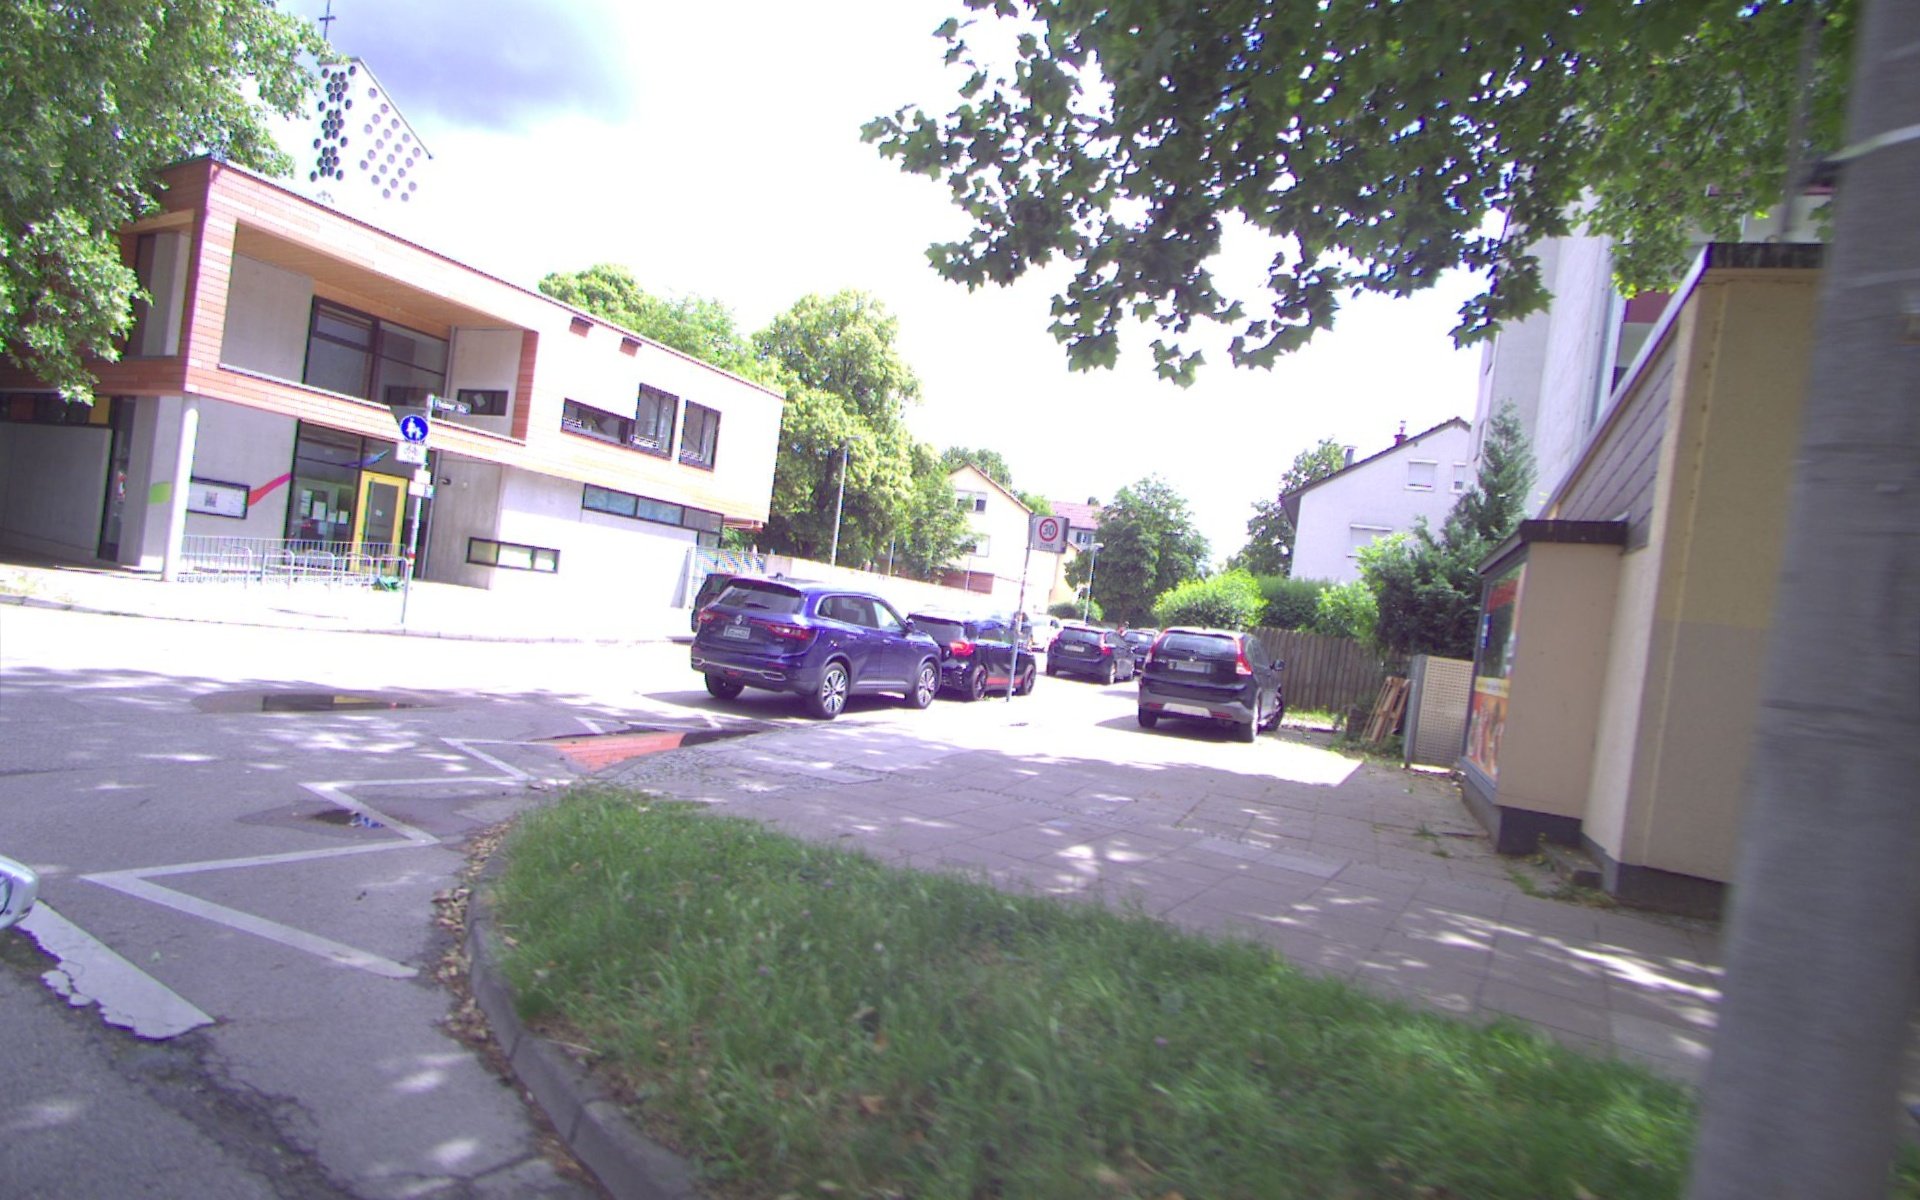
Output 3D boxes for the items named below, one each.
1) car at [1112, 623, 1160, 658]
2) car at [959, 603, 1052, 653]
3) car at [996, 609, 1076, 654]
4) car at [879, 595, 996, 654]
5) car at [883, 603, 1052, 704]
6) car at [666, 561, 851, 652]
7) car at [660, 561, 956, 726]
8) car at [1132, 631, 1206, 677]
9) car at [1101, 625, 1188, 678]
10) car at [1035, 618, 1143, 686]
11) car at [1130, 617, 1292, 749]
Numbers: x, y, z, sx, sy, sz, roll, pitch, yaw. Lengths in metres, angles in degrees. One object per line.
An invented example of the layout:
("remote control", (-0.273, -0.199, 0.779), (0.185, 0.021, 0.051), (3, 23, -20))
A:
("car", (10.481, 2.411, 59.786), (1.963, 1.771, 4.000), (7, 0, 20))
("car", (1.727, 1.066, 36.692), (1.858, 1.474, 4.242), (7, 0, 23))
("car", (3.182, 1.327, 41.430), (1.858, 1.474, 4.242), (7, 0, 23))
("car", (-0.607, 0.802, 30.953), (1.858, 1.474, 4.242), (7, 0, 23))
("car", (0.266, 0.961, 18.386), (1.498, 1.461, 3.997), (8, 1, 23))
("car", (-4.390, 0.222, 22.653), (1.858, 1.624, 4.242), (7, 0, 23))
("car", (-1.888, 0.578, 13.929), (1.976, 1.703, 4.189), (8, 1, 23))
("car", (8.076, 2.091, 38.603), (1.923, 1.425, 4.061), (8, 0, 23))
("car", (6.312, 1.762, 34.058), (1.923, 1.425, 4.061), (8, 0, 23))
("car", (3.622, 1.427, 27.563), (1.841, 1.472, 4.122), (8, 0, 22))
("car", (4.233, 1.290, 16.473), (1.778, 1.675, 4.103), (7, 0, 23))
